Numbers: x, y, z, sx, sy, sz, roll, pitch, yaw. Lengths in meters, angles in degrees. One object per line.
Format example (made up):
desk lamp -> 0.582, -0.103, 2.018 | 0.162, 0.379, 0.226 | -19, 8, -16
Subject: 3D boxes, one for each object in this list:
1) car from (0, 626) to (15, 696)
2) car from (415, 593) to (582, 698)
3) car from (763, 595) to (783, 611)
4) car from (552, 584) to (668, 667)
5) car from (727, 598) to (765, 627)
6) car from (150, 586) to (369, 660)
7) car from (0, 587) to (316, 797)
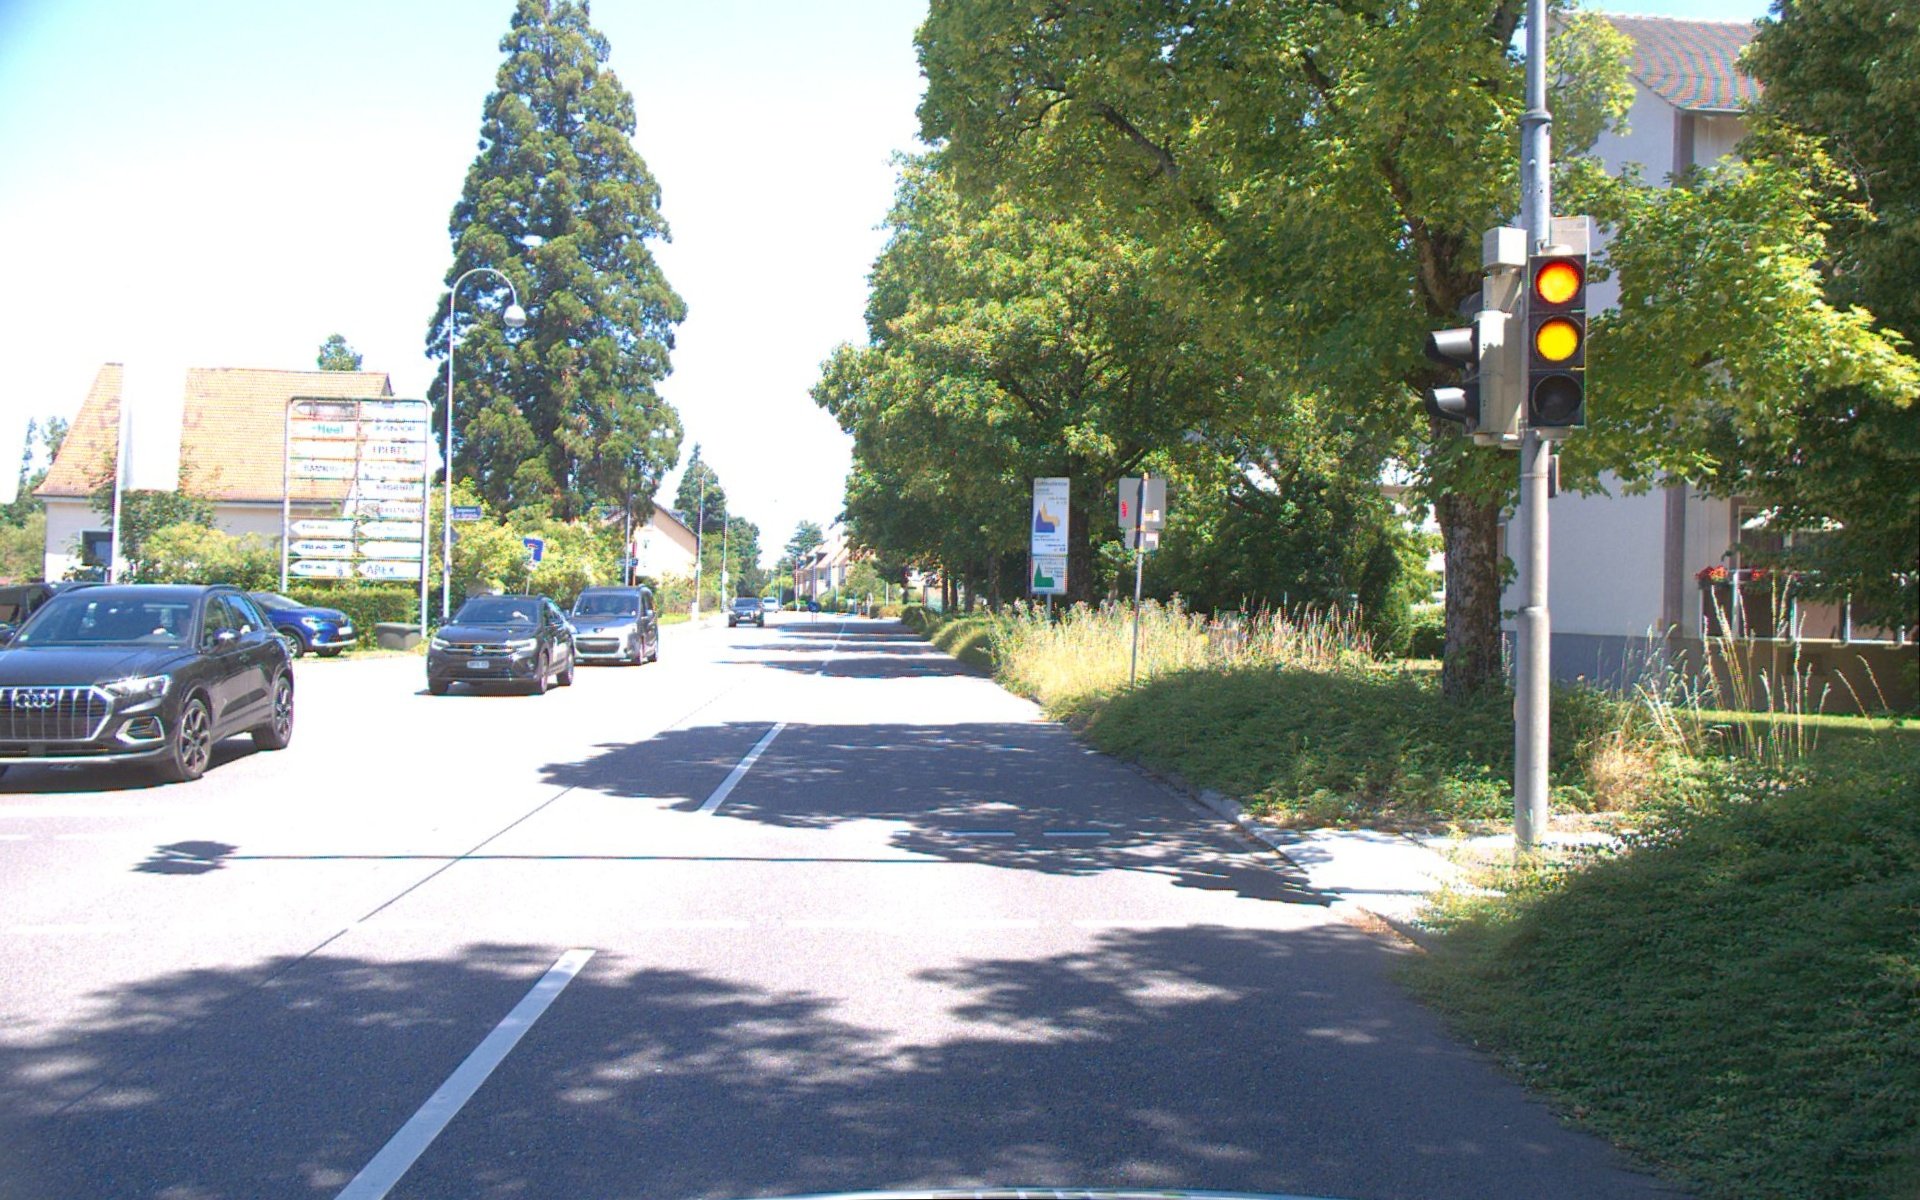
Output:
car -> -24.743, 1.526, 40.070 | 1.775, 1.752, 4.081 | 1, 0, -8
car -> -7.272, 0.674, 26.434 | 1.832, 1.533, 4.049 | 0, 0, -5
car -> -20.001, 0.333, 176.789 | 1.874, 1.719, 4.122 | 1, 0, -4
car -> -7.972, 0.550, 38.018 | 1.774, 1.793, 4.569 | 0, 0, -1
car -> -11.810, 0.696, 91.539 | 1.758, 1.563, 4.312 | 1, 0, -3
car -> -15.196, 0.481, 35.972 | 4.047, 1.531, 1.779 | 0, 0, 8
car -> -7.248, 0.692, 14.651 | 1.890, 1.582, 4.295 | 0, 0, -8
